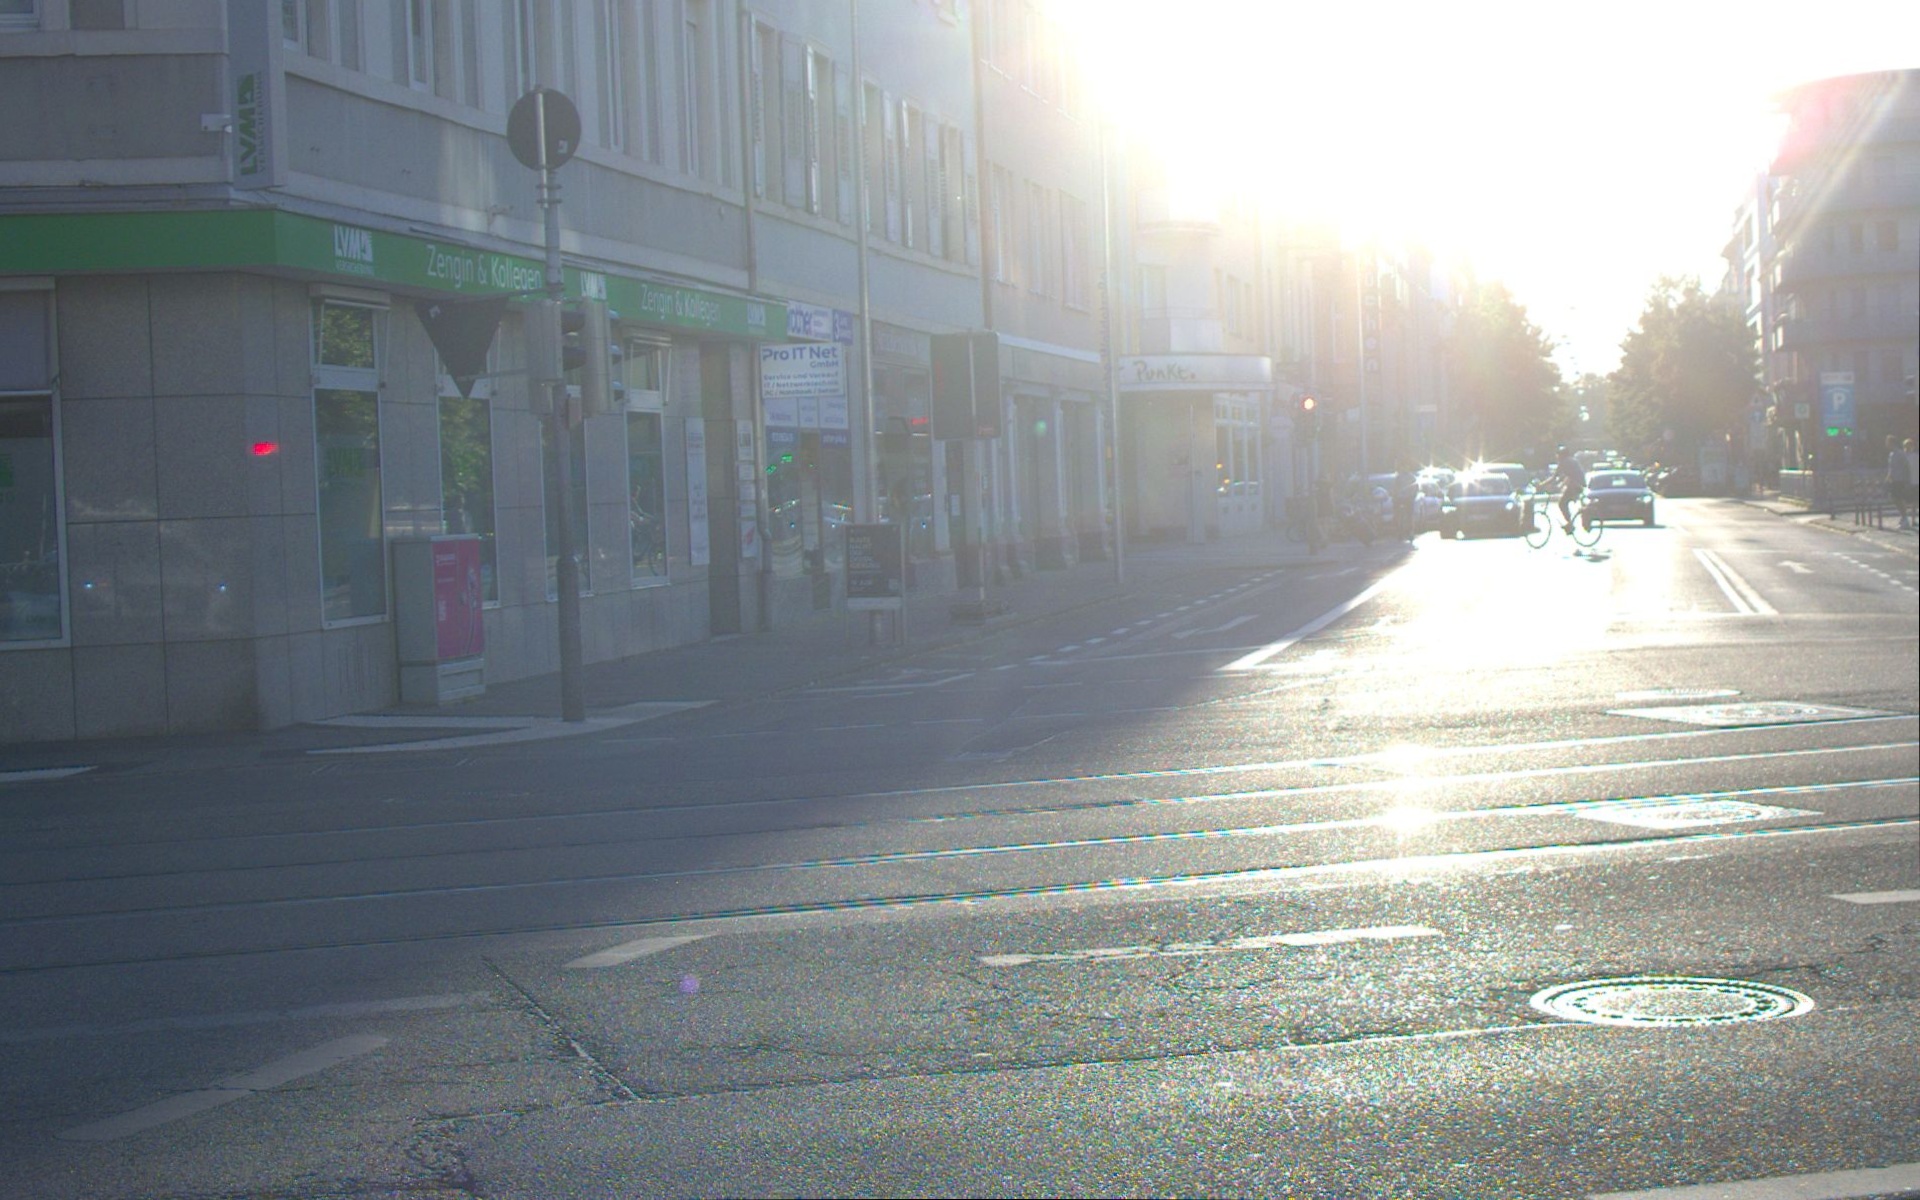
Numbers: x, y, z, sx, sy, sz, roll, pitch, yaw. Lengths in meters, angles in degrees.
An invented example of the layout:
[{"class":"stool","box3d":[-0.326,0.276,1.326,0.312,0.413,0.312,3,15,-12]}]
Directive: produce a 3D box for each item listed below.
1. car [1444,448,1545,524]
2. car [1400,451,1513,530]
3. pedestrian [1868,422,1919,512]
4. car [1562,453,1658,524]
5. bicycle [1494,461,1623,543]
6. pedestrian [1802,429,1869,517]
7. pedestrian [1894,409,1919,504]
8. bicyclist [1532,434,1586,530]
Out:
[{"class":"car","box3d":[13.547,-2.903,86.859,2.304,1.762,5.530,-2,2,11]},{"class":"car","box3d":[11.524,-2.561,79.527,2.304,1.672,5.530,-2,2,11]},{"class":"pedestrian","box3d":[19.176,-2.736,70.573,0.805,1.780,0.993,-3,1,25]},{"class":"car","box3d":[16.684,-2.884,88.307,2.304,1.672,5.530,-2,2,11]},{"class":"bicycle","box3d":[10.884,-1.776,62.587,2.227,1.397,0.679,-1,2,39]},{"class":"pedestrian","box3d":[18.130,-2.625,71.200,0.804,1.777,0.994,-3,2,-28]},{"class":"pedestrian","box3d":[20.126,-3.008,71.592,0.993,1.950,0.805,-2,2,37]},{"class":"bicyclist","box3d":[10.908,-2.145,62.565,0.669,1.701,0.679,-1,2,39]}]
